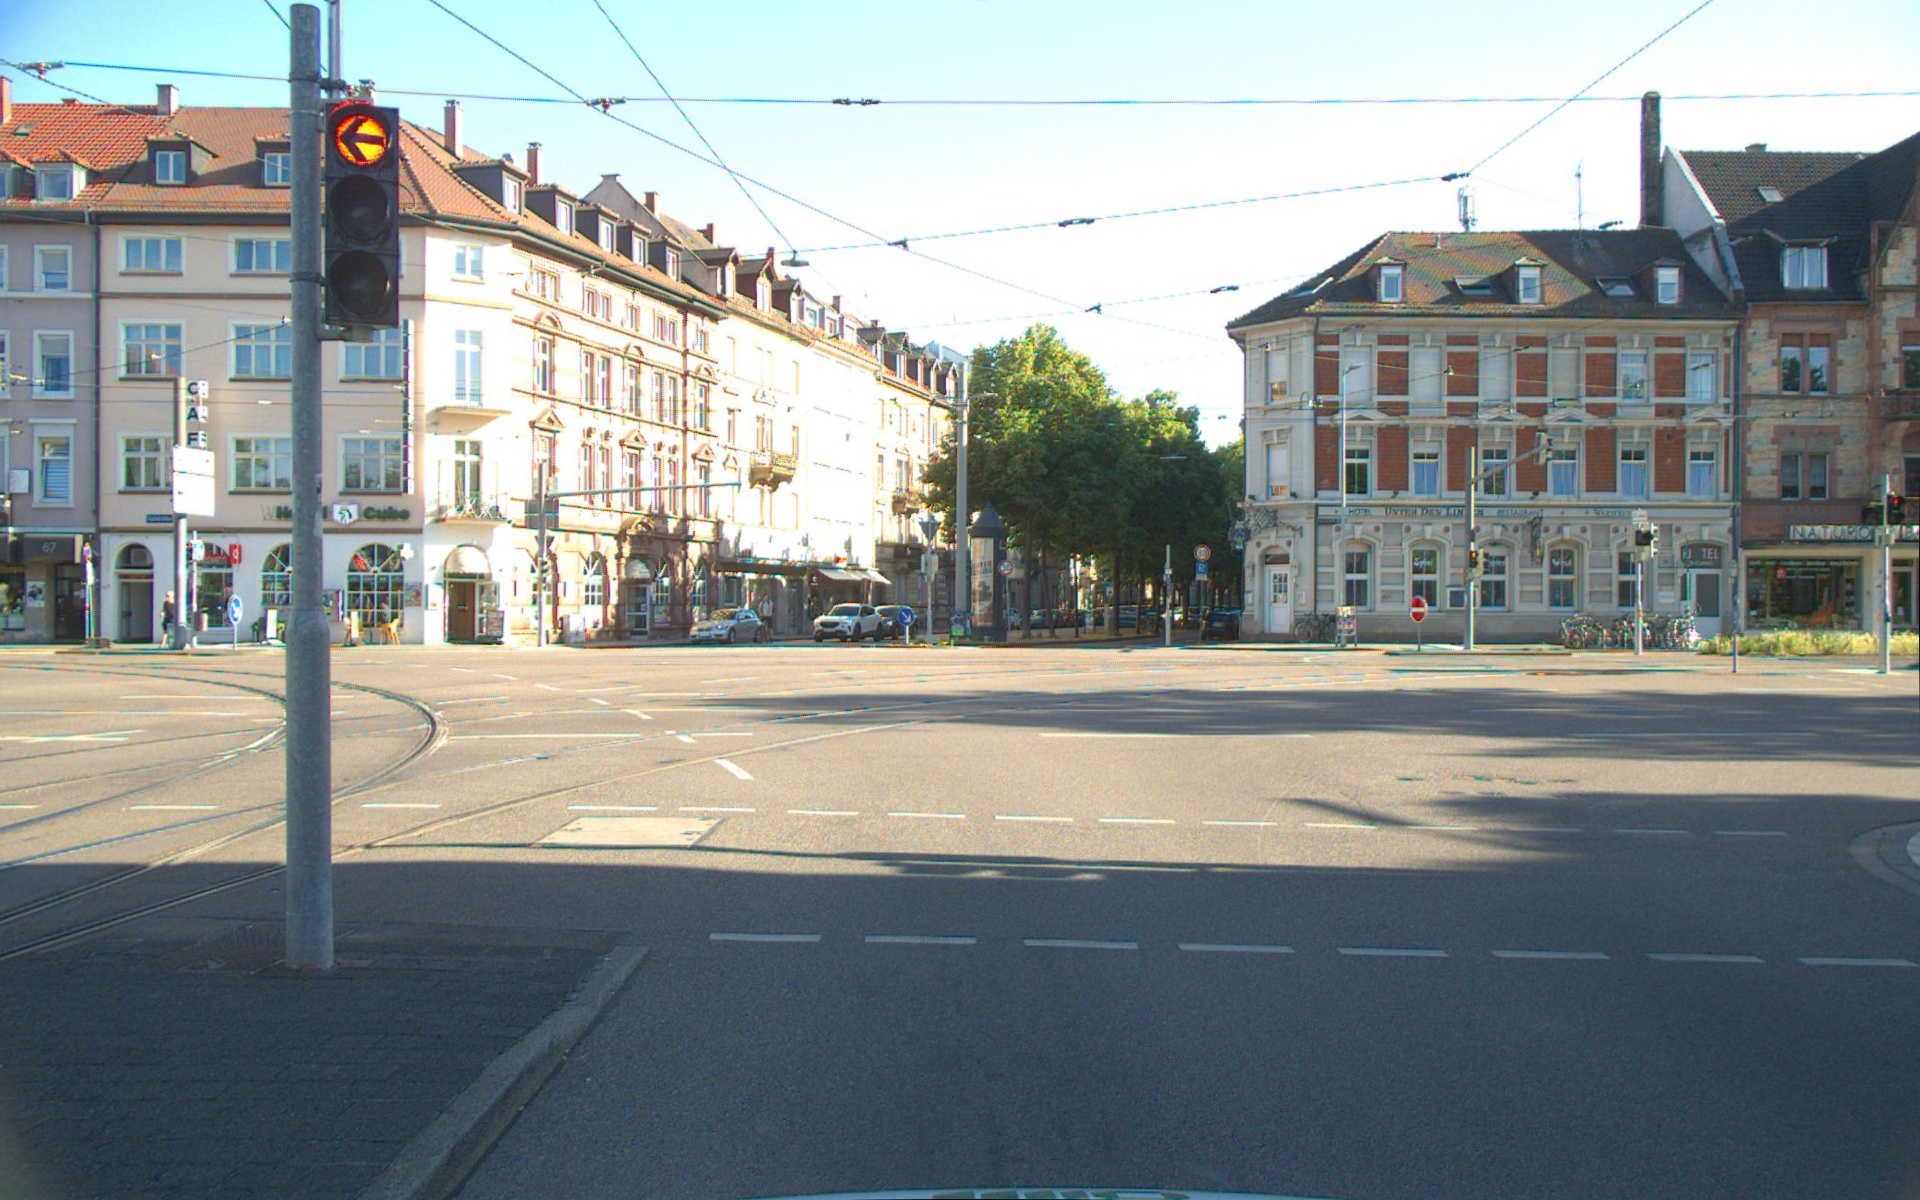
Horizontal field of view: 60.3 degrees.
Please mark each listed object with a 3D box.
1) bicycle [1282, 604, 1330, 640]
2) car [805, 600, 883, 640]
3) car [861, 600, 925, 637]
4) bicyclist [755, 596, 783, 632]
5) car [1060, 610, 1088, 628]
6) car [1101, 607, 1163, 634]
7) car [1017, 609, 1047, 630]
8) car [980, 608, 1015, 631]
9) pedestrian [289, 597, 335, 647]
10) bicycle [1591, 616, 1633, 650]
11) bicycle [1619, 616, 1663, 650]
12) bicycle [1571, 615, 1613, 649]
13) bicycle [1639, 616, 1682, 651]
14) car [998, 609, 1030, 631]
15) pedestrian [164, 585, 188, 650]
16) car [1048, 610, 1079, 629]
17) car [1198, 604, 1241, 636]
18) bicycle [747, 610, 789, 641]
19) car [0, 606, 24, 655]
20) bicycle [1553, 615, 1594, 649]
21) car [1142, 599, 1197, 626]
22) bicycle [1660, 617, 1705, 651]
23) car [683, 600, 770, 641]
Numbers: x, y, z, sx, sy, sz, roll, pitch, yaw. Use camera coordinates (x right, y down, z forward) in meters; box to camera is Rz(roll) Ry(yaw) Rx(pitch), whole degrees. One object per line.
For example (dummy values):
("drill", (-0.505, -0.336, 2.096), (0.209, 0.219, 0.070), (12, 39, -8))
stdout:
("bicycle", (11.977, 0.765, 57.300), (1.603, 1.243, 0.607), (0, 0, 16))
("car", (-4.650, 0.789, 67.078), (2.052, 1.525, 4.003), (0, 0, 13))
("car", (-2.958, 0.796, 73.471), (1.951, 1.540, 4.004), (0, 0, 11))
("bicyclist", (-7.558, 0.543, 65.463), (0.776, 1.399, 1.109), (0, 0, 14))
("car", (9.424, 1.571, 136.501), (1.704, 1.422, 4.127), (3, 0, 13))
("car", (12.007, 1.400, 115.382), (4.024, 1.675, 1.748), (3, 0, 15))
("car", (5.337, 1.410, 122.838), (1.704, 1.422, 4.127), (3, 0, 9))
("car", (2.529, 1.308, 110.015), (1.704, 1.422, 4.127), (3, 0, 9))
("pedestrian", (-21.031, 0.700, 53.706), (1.043, 1.618, 1.042), (0, 0, 1))
("bicycle", (21.118, 1.049, 53.592), (0.593, 1.069, 1.641), (0, 0, -6))
("bicycle", (21.944, 1.062, 53.324), (0.593, 1.069, 1.641), (0, 0, -6))
("bicycle", (20.467, 1.038, 53.566), (0.593, 1.069, 1.641), (0, 0, -6))
("bicycle", (22.605, 1.074, 53.400), (0.593, 1.069, 1.641), (0, 0, -6))
("car", (3.806, 1.354, 115.839), (1.704, 1.422, 4.127), (3, 0, 9))
("pedestrian", (-24.665, 0.538, 52.034), (0.498, 2.049, 0.505), (0, 0, 2))
("car", (8.247, 1.535, 131.705), (1.704, 1.422, 4.127), (3, 0, 13))
("car", (12.976, 1.003, 82.464), (1.616, 1.551, 3.755), (0, -1, 17))
("bicycle", (-7.572, 0.994, 65.493), (0.734, 1.155, 2.812), (0, 0, 14))
("car", (-32.062, 0.997, 52.154), (3.910, 1.489, 1.998), (-1, 1, -6))
("bicycle", (19.826, 1.027, 53.510), (0.593, 1.069, 1.641), (0, 0, -6))
("car", (16.961, 1.010, 133.663), (4.026, 1.952, 1.746), (3, 0, 21))
("bicycle", (23.331, 1.087, 53.421), (0.593, 1.069, 1.641), (0, 0, -6))
("car", (-9.449, 0.811, 67.219), (2.052, 1.572, 4.367), (0, 0, 13))
